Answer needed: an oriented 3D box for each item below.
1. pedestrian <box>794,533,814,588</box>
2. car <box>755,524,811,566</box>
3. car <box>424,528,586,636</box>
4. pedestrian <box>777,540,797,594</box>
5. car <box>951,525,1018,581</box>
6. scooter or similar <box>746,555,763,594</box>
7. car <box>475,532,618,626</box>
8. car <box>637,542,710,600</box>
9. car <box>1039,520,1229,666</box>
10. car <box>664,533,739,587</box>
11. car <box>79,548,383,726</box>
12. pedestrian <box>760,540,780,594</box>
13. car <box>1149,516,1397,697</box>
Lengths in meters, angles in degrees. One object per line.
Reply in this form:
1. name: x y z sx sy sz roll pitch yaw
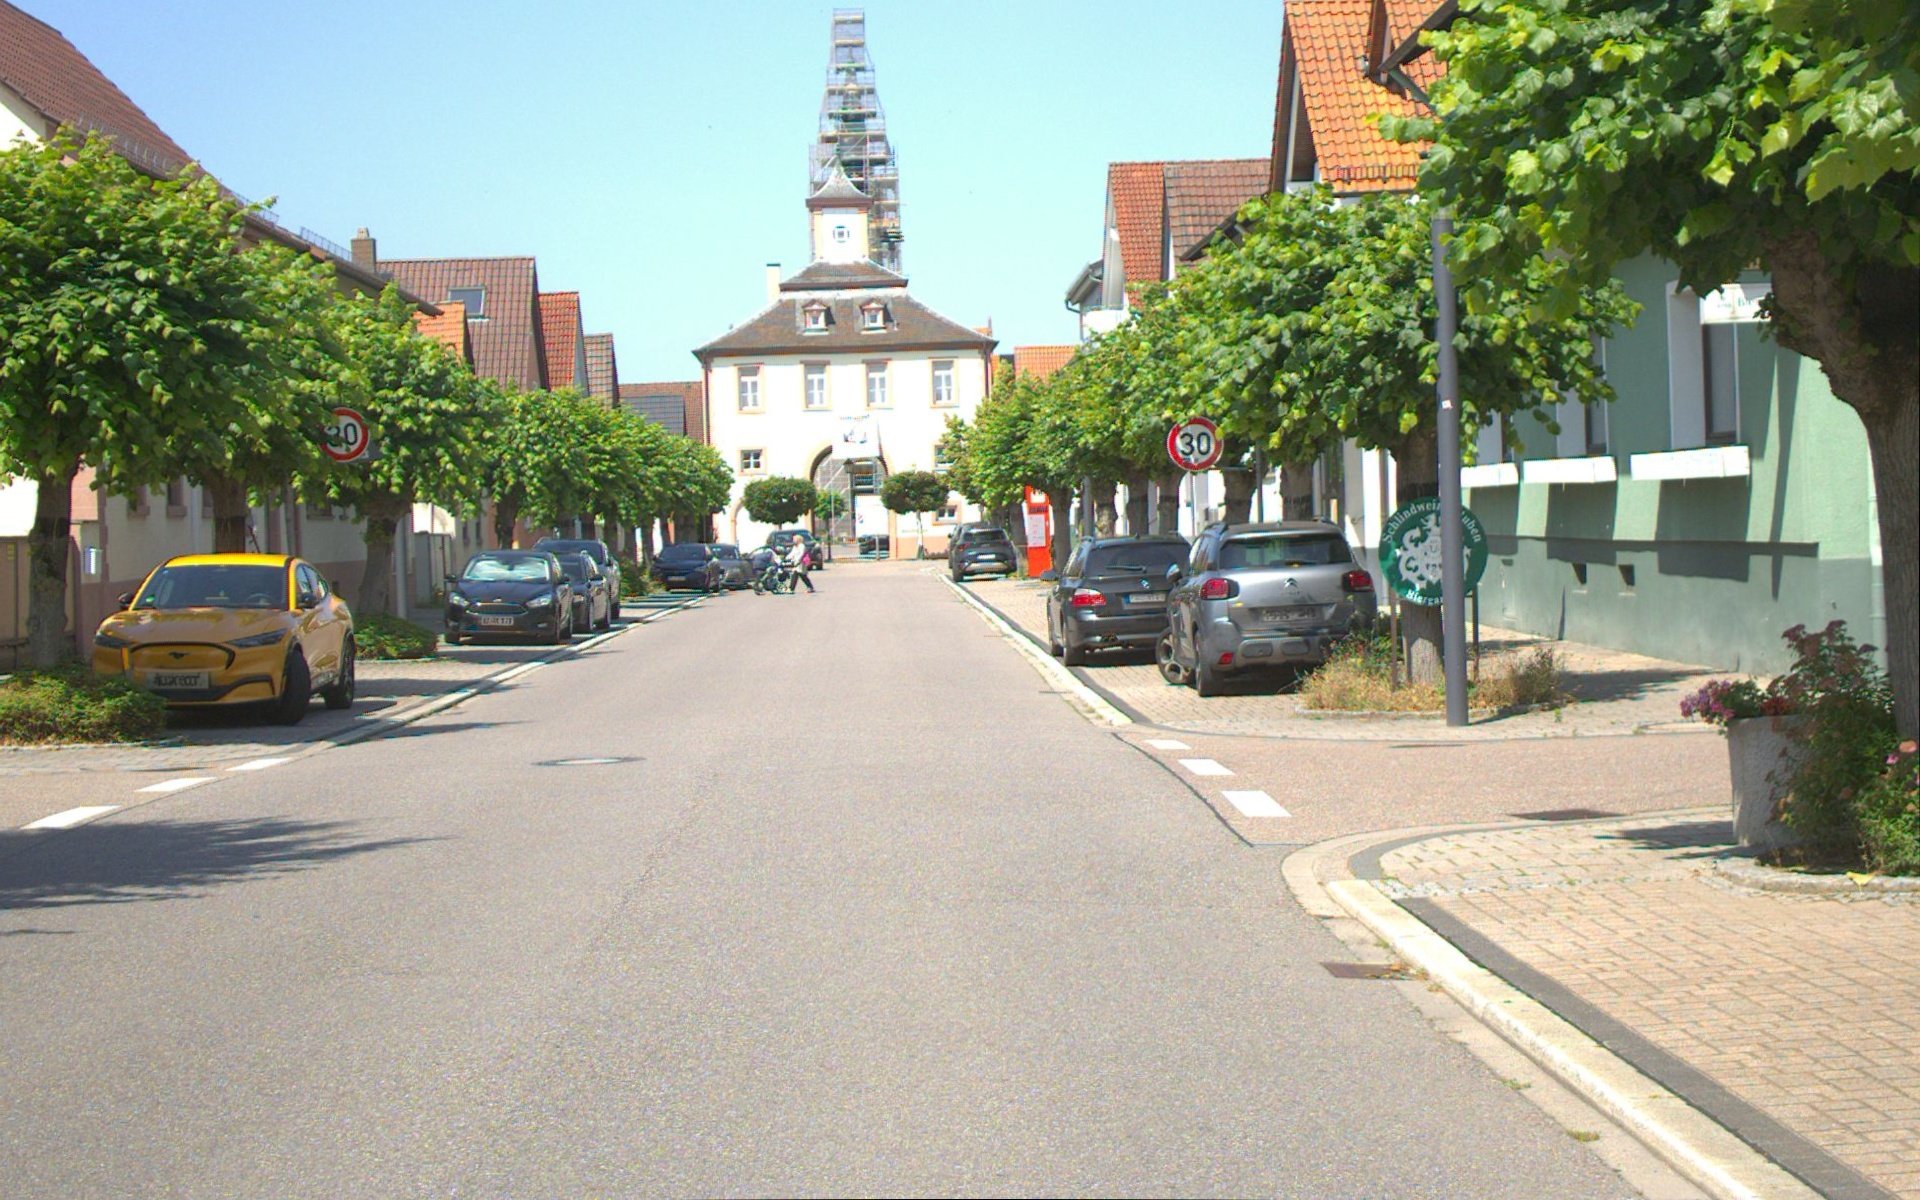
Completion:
1. pedestrian: -4.036 -1.016 88.918 0.358 1.398 0.319 -1 1 36
2. car: -6.868 -2.126 133.235 1.993 1.606 4.507 0 0 -5
3. car: -7.221 -0.327 54.984 1.993 1.606 4.689 0 2 0
4. pedestrian: -4.526 -0.861 89.784 0.358 1.398 0.319 -1 1 36
5. car: 0.723 -1.441 104.104 1.837 1.550 4.314 -3 1 -1
6. scooter or similar: -5.347 -0.669 89.597 0.329 0.999 0.241 -1 1 36
7. car: -7.253 -0.372 60.720 1.993 1.606 4.689 0 0 0
8. car: -8.150 -0.843 98.049 1.757 1.550 4.020 -2 1 -1
9. car: 2.019 -0.121 41.041 1.837 1.550 4.314 -3 1 -2
10. car: -7.778 -1.200 103.794 1.993 1.606 3.855 0 0 0
11. car: -7.034 0.302 33.658 1.993 1.606 4.689 0 1 0
12. pedestrian: -4.937 -0.860 89.472 0.358 1.398 0.319 -1 1 36
13. car: 2.970 0.022 33.362 1.837 1.602 4.001 -1 1 -3
